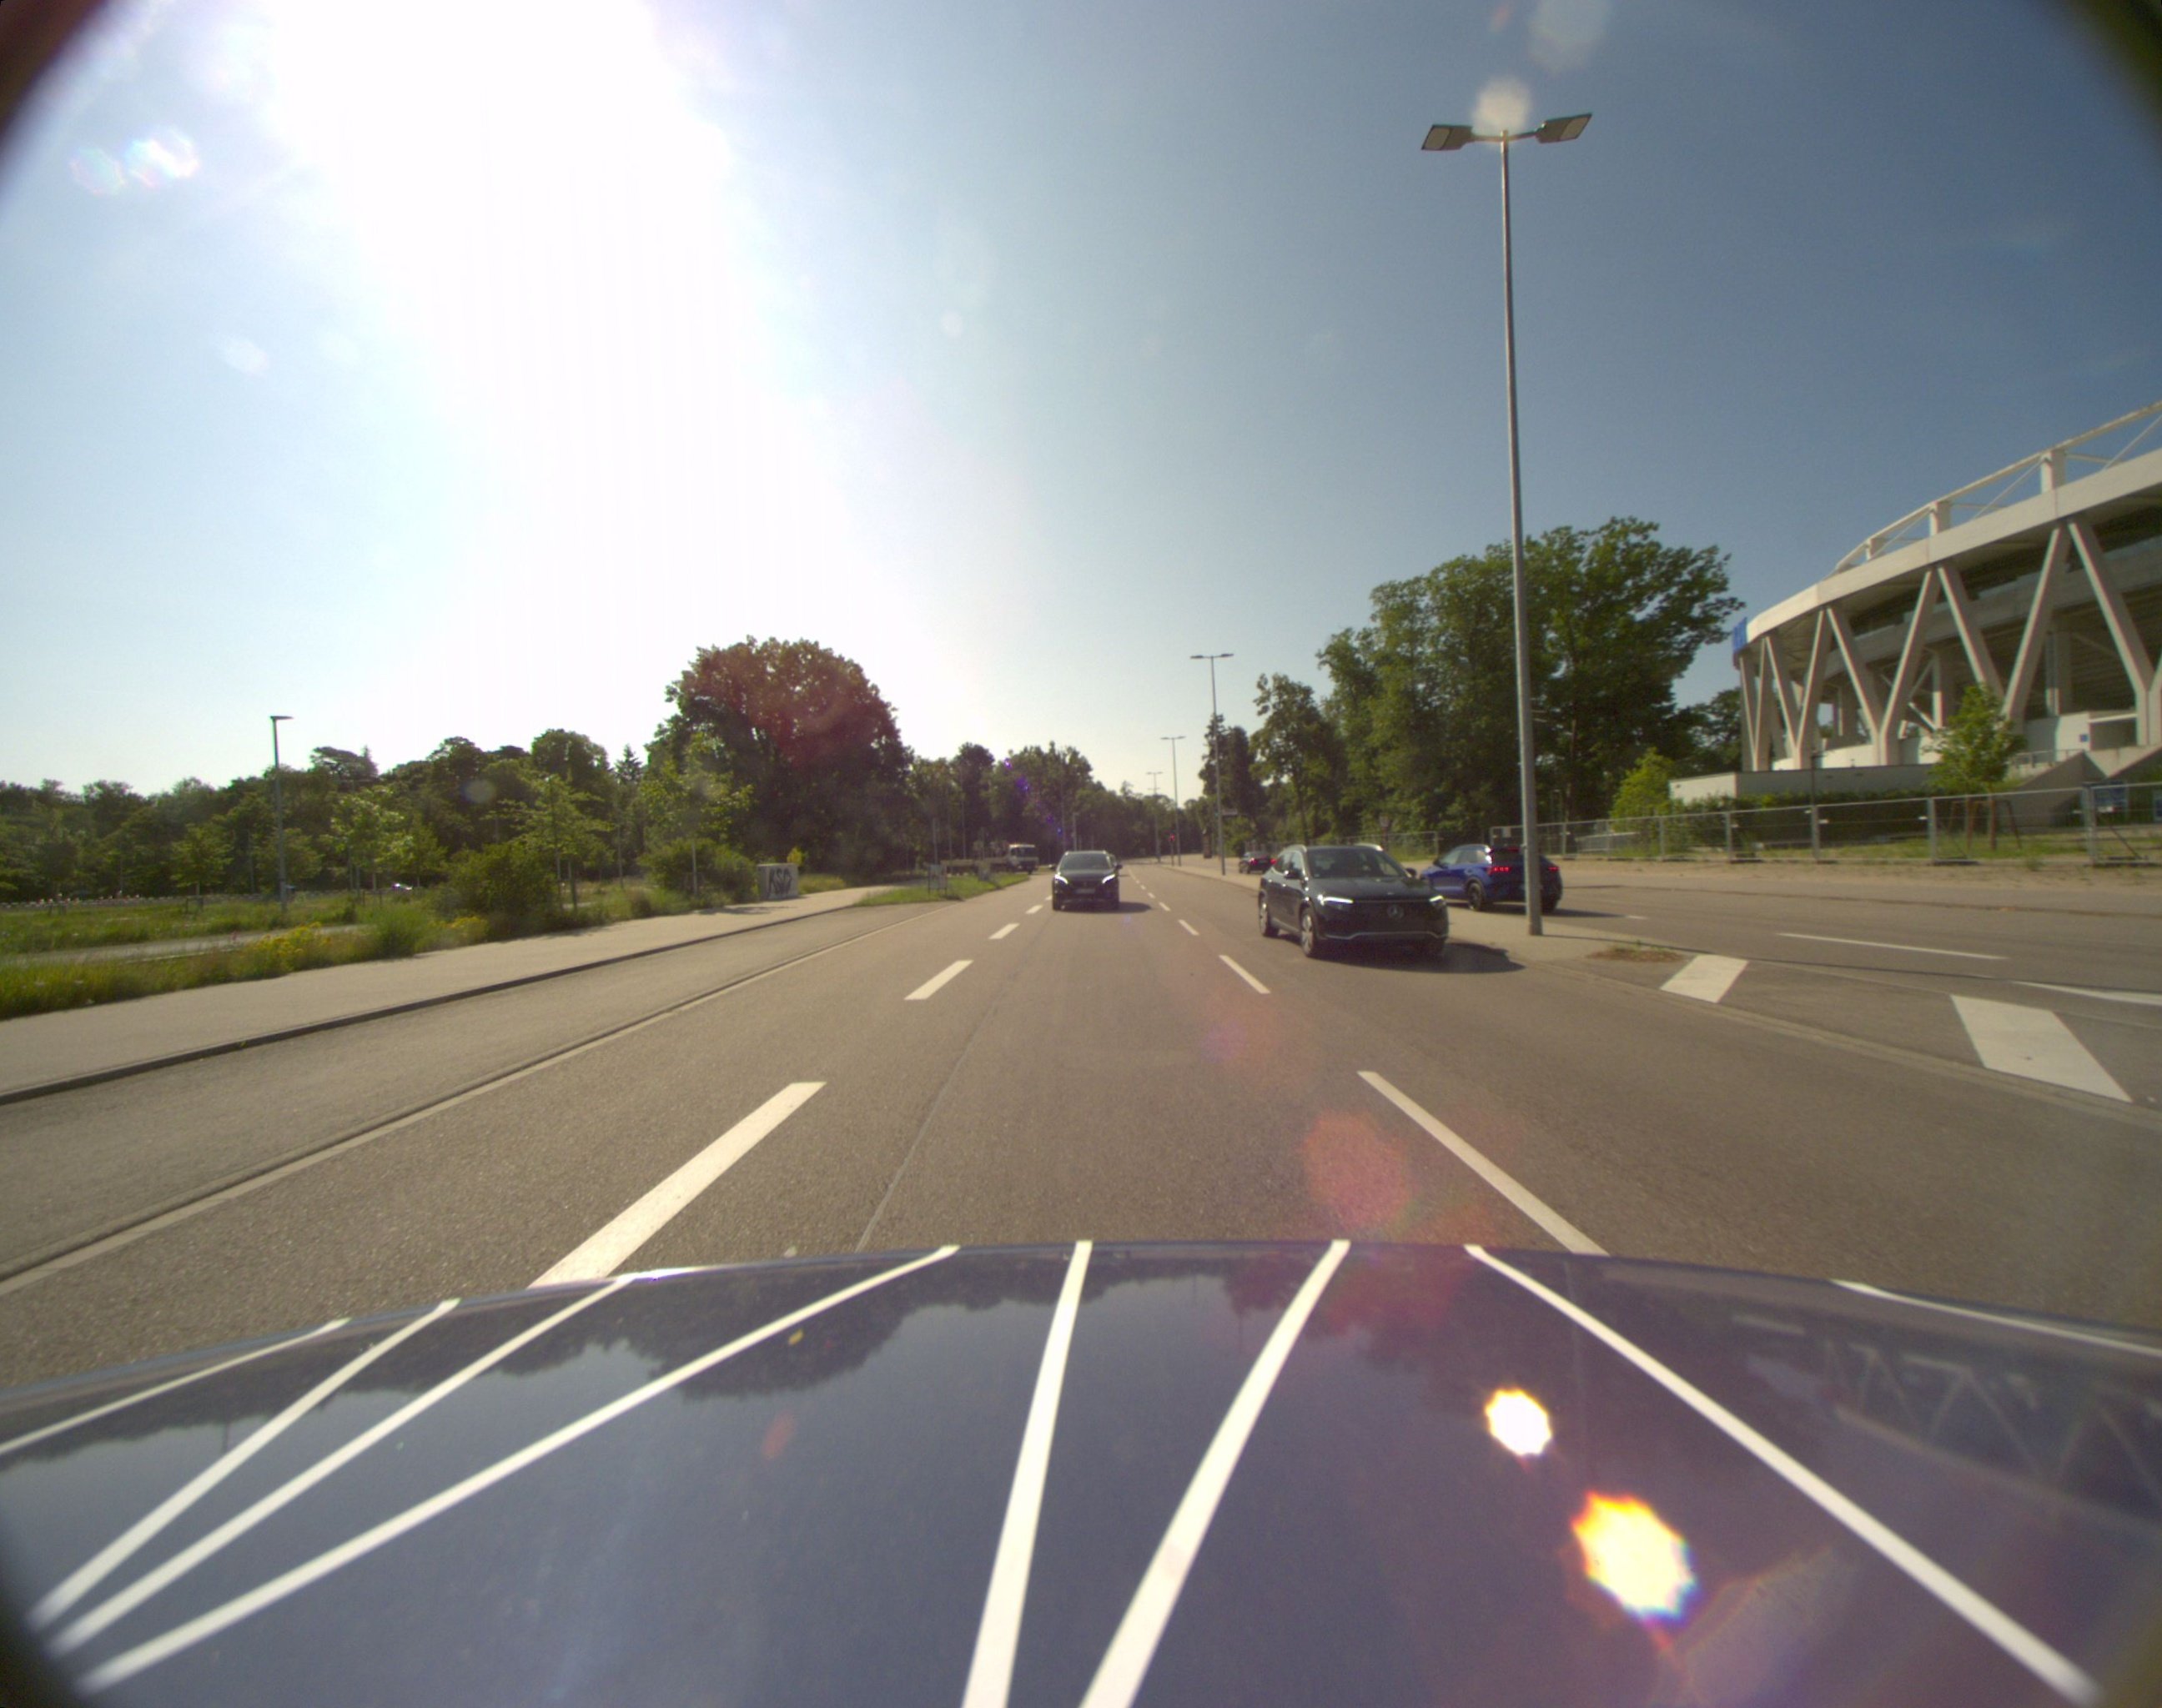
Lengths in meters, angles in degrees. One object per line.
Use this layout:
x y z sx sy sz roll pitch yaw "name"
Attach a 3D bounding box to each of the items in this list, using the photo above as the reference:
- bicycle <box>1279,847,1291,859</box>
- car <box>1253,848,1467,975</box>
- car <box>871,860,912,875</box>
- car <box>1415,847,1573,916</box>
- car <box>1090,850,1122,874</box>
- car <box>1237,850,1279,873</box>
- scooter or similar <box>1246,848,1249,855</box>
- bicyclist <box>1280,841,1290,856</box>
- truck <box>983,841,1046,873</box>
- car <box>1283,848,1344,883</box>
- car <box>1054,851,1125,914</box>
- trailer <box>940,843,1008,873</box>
20.097 -0.139 74.730 0.661 1.129 1.878 -4 0 1 "bicycle"
4.008 0.714 11.750 1.809 1.587 4.273 0 0 1 "car"
-20.201 1.450 81.068 3.990 1.475 1.850 -2 0 29 "car"
9.804 0.576 18.428 1.757 1.477 3.947 -1 0 1 "car"
1.756 0.532 51.752 1.932 1.499 4.001 -2 0 4 "car"
11.249 0.452 48.458 1.815 1.380 4.162 0 0 1 "car"
26.218 -0.390 119.830 0.395 1.139 1.197 -3 0 9 "scooter or similar"
20.053 -0.526 74.684 0.661 1.459 1.057 -4 0 1 "bicyclist"
-6.167 0.294 69.393 2.685 2.702 6.187 -3 1 -38 "truck"
10.266 0.459 33.851 1.627 1.458 3.800 0 0 1 "car"
0.343 0.732 22.036 1.702 1.581 4.320 -3 0 4 "car"
-10.497 0.418 74.013 6.870 2.672 2.709 -3 1 43 "trailer"
